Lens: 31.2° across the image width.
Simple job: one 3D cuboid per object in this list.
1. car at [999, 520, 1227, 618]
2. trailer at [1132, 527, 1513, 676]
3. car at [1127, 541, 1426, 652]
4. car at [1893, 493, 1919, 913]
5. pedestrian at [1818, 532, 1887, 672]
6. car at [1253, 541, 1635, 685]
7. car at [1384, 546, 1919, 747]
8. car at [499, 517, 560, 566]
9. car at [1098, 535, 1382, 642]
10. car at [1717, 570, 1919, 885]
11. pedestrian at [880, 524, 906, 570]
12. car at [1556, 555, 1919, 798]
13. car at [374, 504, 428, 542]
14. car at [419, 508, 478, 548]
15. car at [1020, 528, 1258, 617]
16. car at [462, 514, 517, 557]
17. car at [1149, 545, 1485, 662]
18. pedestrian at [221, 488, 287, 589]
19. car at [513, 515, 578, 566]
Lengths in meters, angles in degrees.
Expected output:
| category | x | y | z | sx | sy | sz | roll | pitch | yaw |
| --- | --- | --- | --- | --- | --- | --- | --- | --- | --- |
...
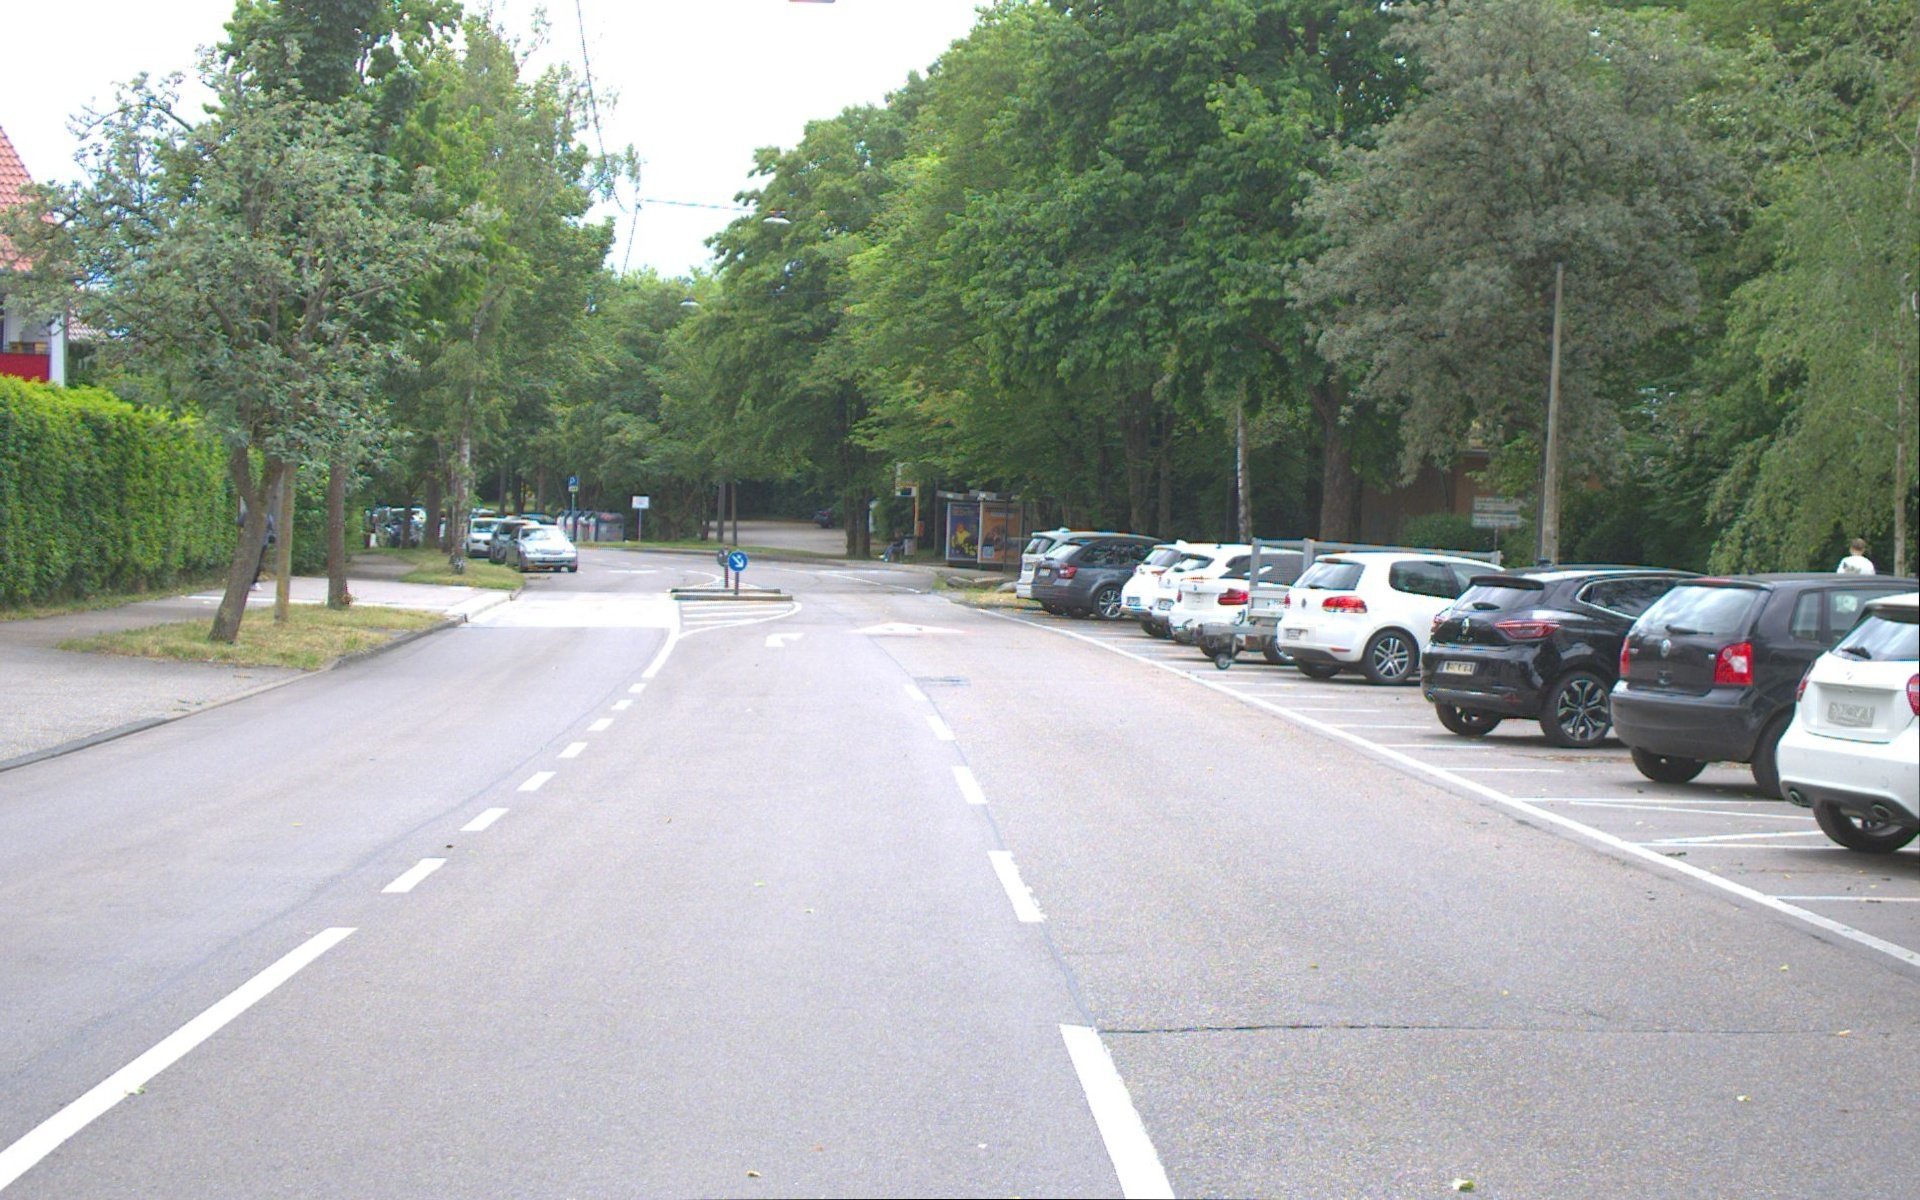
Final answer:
| category | x | y | z | sx | sy | sz | roll | pitch | yaw |
| --- | --- | --- | --- | --- | --- | --- | --- | --- | --- |
| car | 2.899 | -0.582 | 65.155 | 3.883 | 1.662 | 1.744 | 2 | 1 | -20 |
| trailer | 4.352 | 0.015 | 41.332 | 4.153 | 1.568 | 1.712 | 3 | 1 | -20 |
| car | 4.584 | -0.054 | 49.809 | 3.883 | 1.424 | 1.744 | 2 | 1 | -20 |
| car | 6.200 | 0.542 | 14.592 | 4.085 | 1.748 | 1.787 | 2 | 1 | -27 |
| pedestrian | 10.867 | 0.018 | 41.888 | 0.649 | 1.665 | 0.743 | 2 | 1 | 5 |
| car | 5.501 | 0.150 | 39.115 | 3.883 | 1.444 | 1.744 | 2 | 1 | -22 |
| car | 5.644 | 0.377 | 28.026 | 3.883 | 1.444 | 1.845 | 2 | 1 | -24 |
| car | -13.774 | -1.894 | 109.811 | 1.866 | 1.466 | 4.001 | 2 | 1 | -8 |
| car | 4.260 | -0.176 | 52.381 | 3.883 | 1.424 | 1.744 | 2 | 1 | -20 |
| car | 6.185 | 0.687 | 17.692 | 3.965 | 1.444 | 1.919 | 3 | 1 | -16 |
| pedestrian | -2.330 | -1.840 | 119.979 | 0.741 | 1.564 | 0.651 | 2 | 1 | 10 |
| car | 6.205 | 0.534 | 23.031 | 3.883 | 1.444 | 1.845 | 3 | 1 | -20 |
| car | -23.112 | -3.198 | 142.027 | 1.866 | 1.466 | 4.001 | 1 | 1 | -14 |
| car | -19.748 | -2.782 | 132.679 | 1.866 | 1.466 | 4.001 | 1 | 1 | -14 |
| car | 3.239 | -0.502 | 62.370 | 3.883 | 1.424 | 1.744 | 2 | 1 | -20 |
| car | -16.634 | -2.293 | 121.607 | 1.866 | 1.466 | 4.001 | 2 | 1 | -8 |
| car | 4.573 | 0.043 | 44.023 | 3.883 | 1.305 | 1.744 | 2 | 1 | -25 |
| pedestrian | -12.285 | -1.076 | 59.842 | 0.974 | 1.724 | 0.849 | 2 | 1 | -4 |
| car | -12.585 | -1.816 | 104.246 | 1.866 | 1.466 | 4.001 | 2 | 1 | -8 |
